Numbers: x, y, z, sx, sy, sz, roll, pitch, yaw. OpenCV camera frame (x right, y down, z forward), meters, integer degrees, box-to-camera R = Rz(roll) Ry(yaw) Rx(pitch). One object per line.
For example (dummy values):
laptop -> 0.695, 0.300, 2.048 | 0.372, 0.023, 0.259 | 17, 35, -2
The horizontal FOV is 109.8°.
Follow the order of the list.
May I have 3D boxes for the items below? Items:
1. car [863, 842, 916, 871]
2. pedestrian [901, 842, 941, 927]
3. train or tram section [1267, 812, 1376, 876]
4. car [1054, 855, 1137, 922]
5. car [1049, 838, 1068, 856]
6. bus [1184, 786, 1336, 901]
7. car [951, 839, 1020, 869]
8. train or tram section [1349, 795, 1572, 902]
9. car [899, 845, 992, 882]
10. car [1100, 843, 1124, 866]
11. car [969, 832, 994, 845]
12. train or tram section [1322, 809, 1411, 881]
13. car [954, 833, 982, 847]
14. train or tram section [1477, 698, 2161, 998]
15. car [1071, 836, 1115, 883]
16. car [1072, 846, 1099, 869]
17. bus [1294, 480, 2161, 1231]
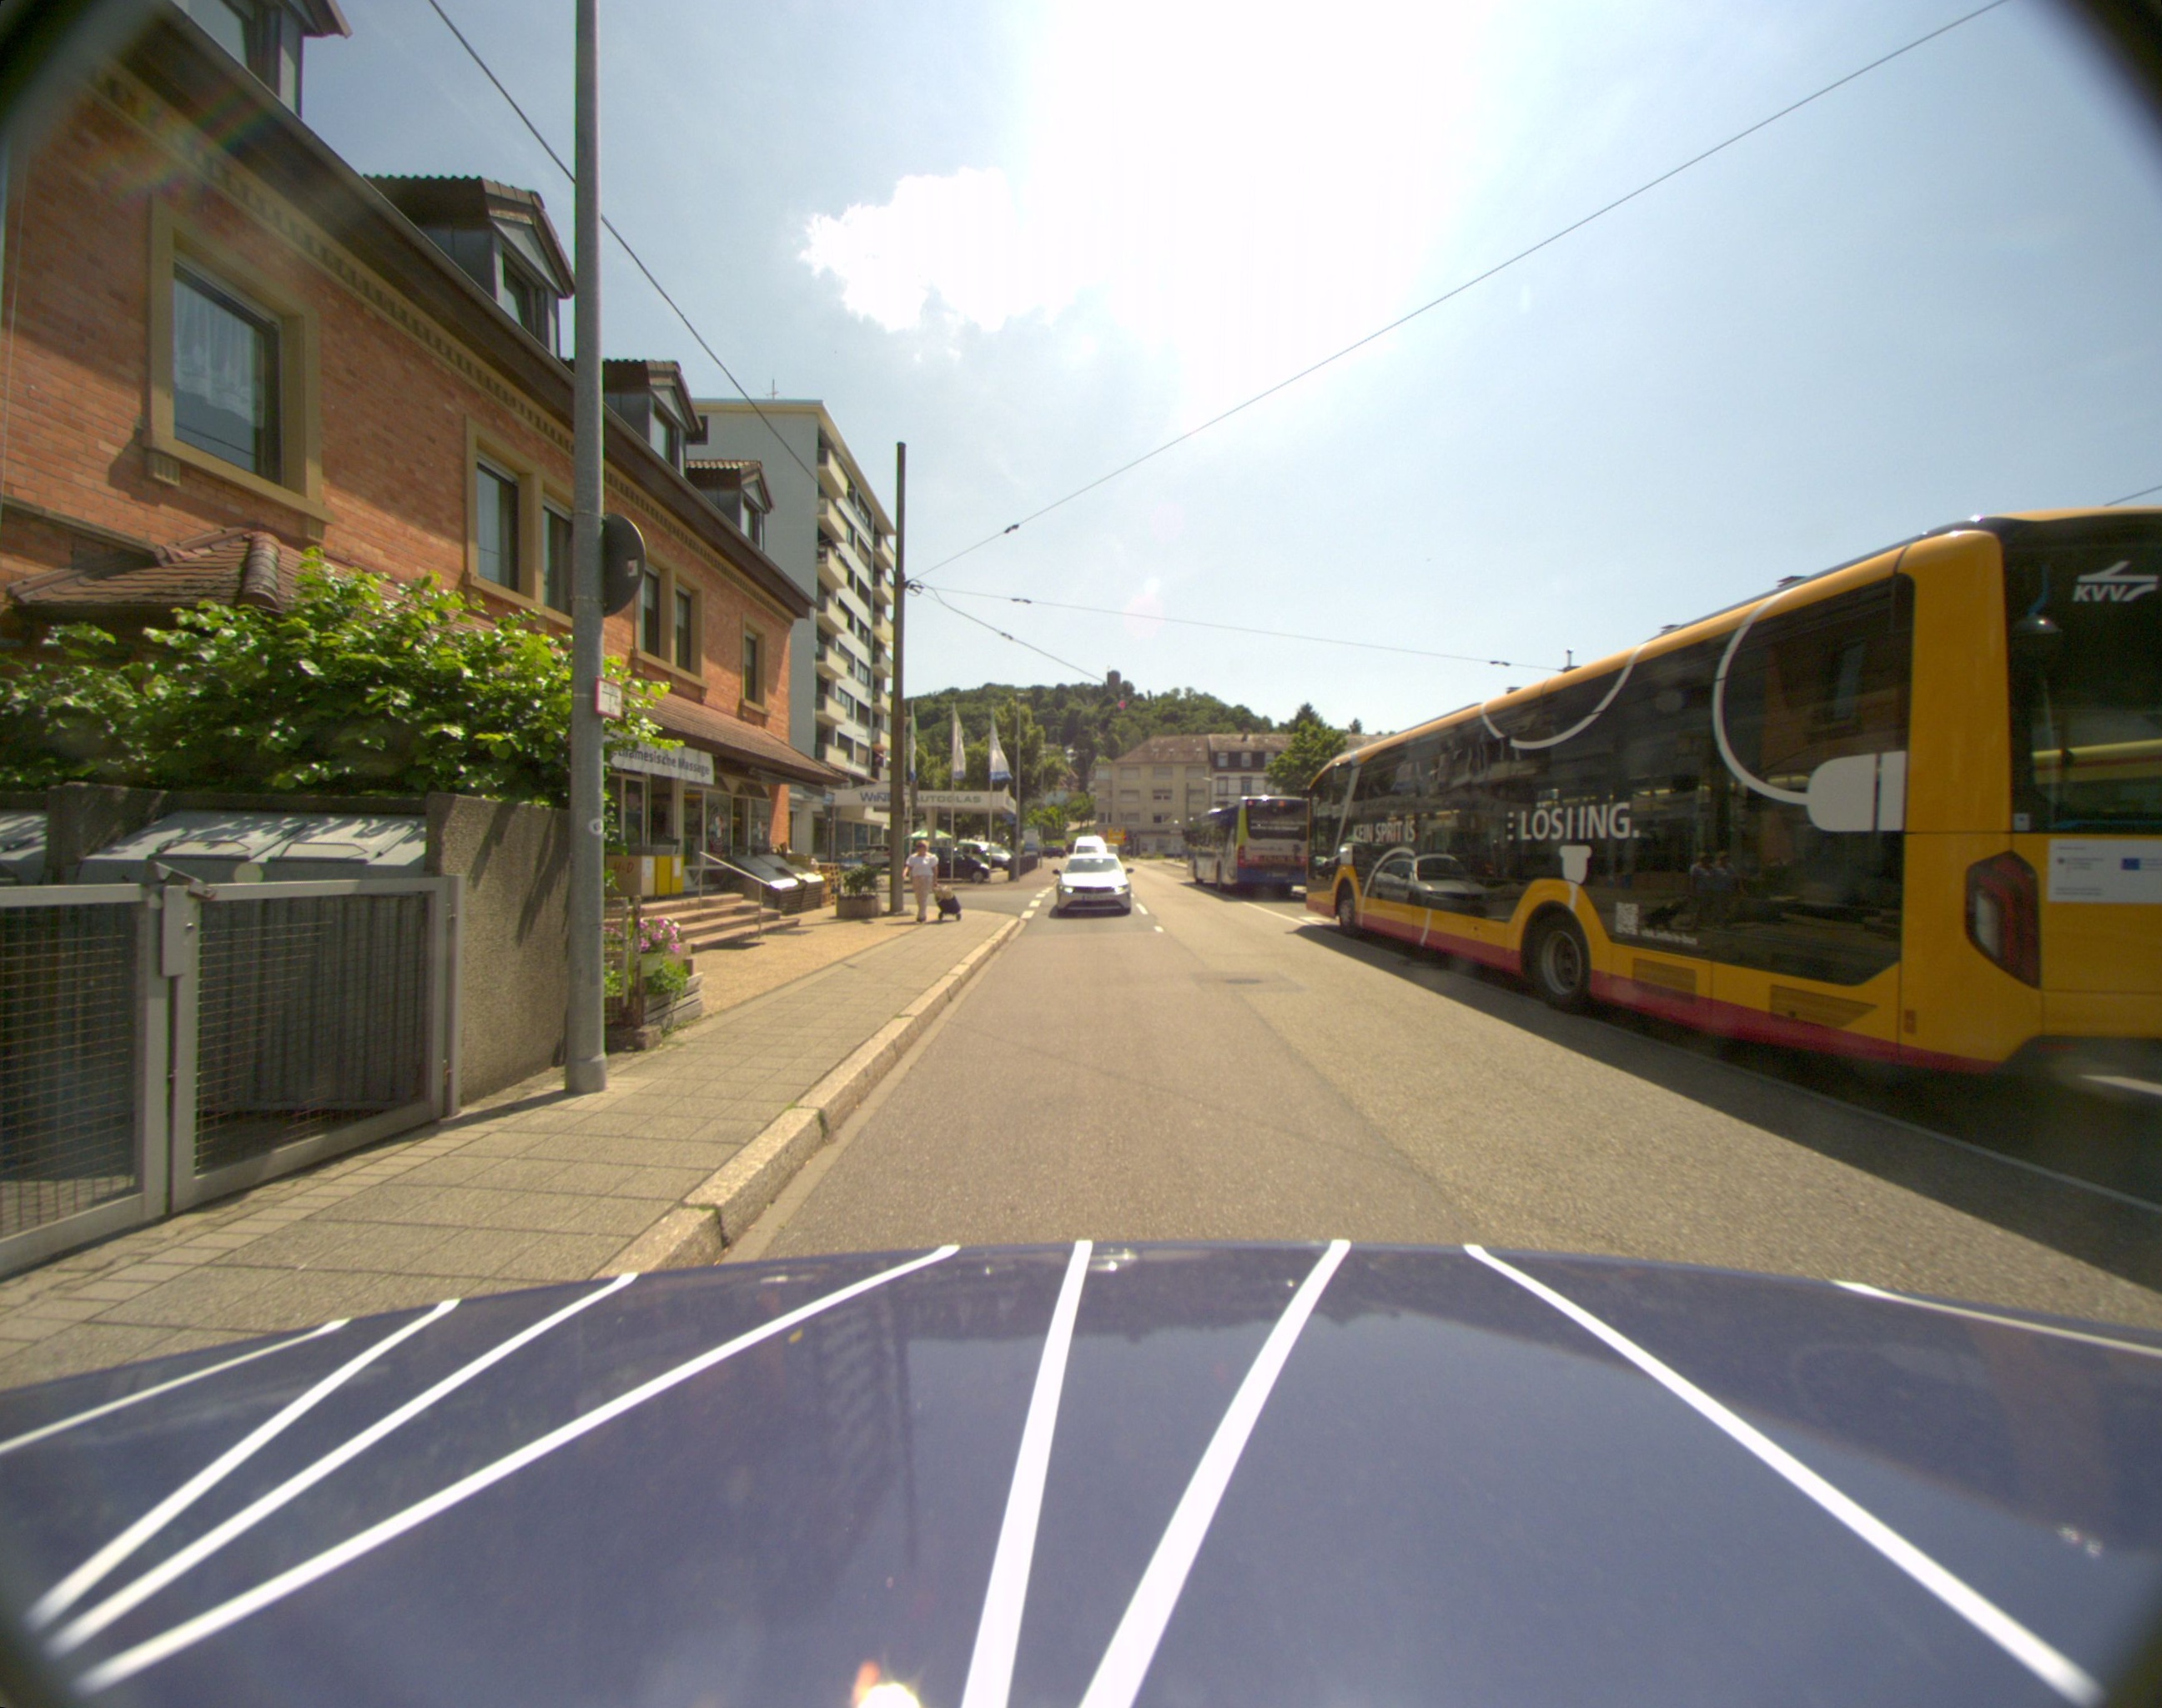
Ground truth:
car -> -11.157, 0.130, 44.576 | 1.750, 1.617, 4.705 | 0, 1, 2
pedestrian -> -3.176, 0.596, 15.134 | 0.707, 1.631, 0.659 | 2, -1, -9
train or tram section -> 14.818, -0.634, 48.279 | 2.971, 3.475, 12.711 | -1, 1, 1
car -> 0.333, 0.754, 18.832 | 1.818, 1.371, 4.391 | 0, 1, 0
car -> -2.648, -0.861, 89.712 | 1.998, 2.002, 3.999 | -1, 2, 1
bus -> 6.198, -0.301, 28.865 | 2.915, 3.407, 12.039 | -1, 0, 0
car -> -6.106, -0.011, 48.350 | 4.277, 1.780, 1.827 | 0, 2, 40
train or tram section -> 14.800, -0.258, 31.475 | 2.971, 3.475, 12.655 | -1, 1, 1
car -> -5.958, 0.415, 33.331 | 3.890, 1.534, 1.840 | 0, 1, -12
car -> 2.702, -0.014, 66.934 | 1.708, 1.840, 4.710 | -1, 2, -3
car -> -16.272, -2.536, 124.700 | 2.398, 2.002, 5.384 | -1, 2, 12
train or tram section -> 14.853, -0.477, 39.853 | 2.971, 3.475, 4.417 | 1, 1, 0
car -> -17.537, -2.214, 118.154 | 2.398, 2.002, 5.384 | -1, 2, 12
train or tram section -> 14.617, -0.196, 16.634 | 2.971, 3.622, 17.349 | -1, 1, 1
car -> 0.560, 0.222, 40.634 | 1.999, 2.259, 5.442 | -1, 2, -2
car -> 0.351, 0.236, 60.251 | 1.998, 1.609, 3.999 | -1, 2, 1
bus -> 5.708, -0.165, 9.350 | 2.905, 3.229, 12.193 | -1, 2, 1
